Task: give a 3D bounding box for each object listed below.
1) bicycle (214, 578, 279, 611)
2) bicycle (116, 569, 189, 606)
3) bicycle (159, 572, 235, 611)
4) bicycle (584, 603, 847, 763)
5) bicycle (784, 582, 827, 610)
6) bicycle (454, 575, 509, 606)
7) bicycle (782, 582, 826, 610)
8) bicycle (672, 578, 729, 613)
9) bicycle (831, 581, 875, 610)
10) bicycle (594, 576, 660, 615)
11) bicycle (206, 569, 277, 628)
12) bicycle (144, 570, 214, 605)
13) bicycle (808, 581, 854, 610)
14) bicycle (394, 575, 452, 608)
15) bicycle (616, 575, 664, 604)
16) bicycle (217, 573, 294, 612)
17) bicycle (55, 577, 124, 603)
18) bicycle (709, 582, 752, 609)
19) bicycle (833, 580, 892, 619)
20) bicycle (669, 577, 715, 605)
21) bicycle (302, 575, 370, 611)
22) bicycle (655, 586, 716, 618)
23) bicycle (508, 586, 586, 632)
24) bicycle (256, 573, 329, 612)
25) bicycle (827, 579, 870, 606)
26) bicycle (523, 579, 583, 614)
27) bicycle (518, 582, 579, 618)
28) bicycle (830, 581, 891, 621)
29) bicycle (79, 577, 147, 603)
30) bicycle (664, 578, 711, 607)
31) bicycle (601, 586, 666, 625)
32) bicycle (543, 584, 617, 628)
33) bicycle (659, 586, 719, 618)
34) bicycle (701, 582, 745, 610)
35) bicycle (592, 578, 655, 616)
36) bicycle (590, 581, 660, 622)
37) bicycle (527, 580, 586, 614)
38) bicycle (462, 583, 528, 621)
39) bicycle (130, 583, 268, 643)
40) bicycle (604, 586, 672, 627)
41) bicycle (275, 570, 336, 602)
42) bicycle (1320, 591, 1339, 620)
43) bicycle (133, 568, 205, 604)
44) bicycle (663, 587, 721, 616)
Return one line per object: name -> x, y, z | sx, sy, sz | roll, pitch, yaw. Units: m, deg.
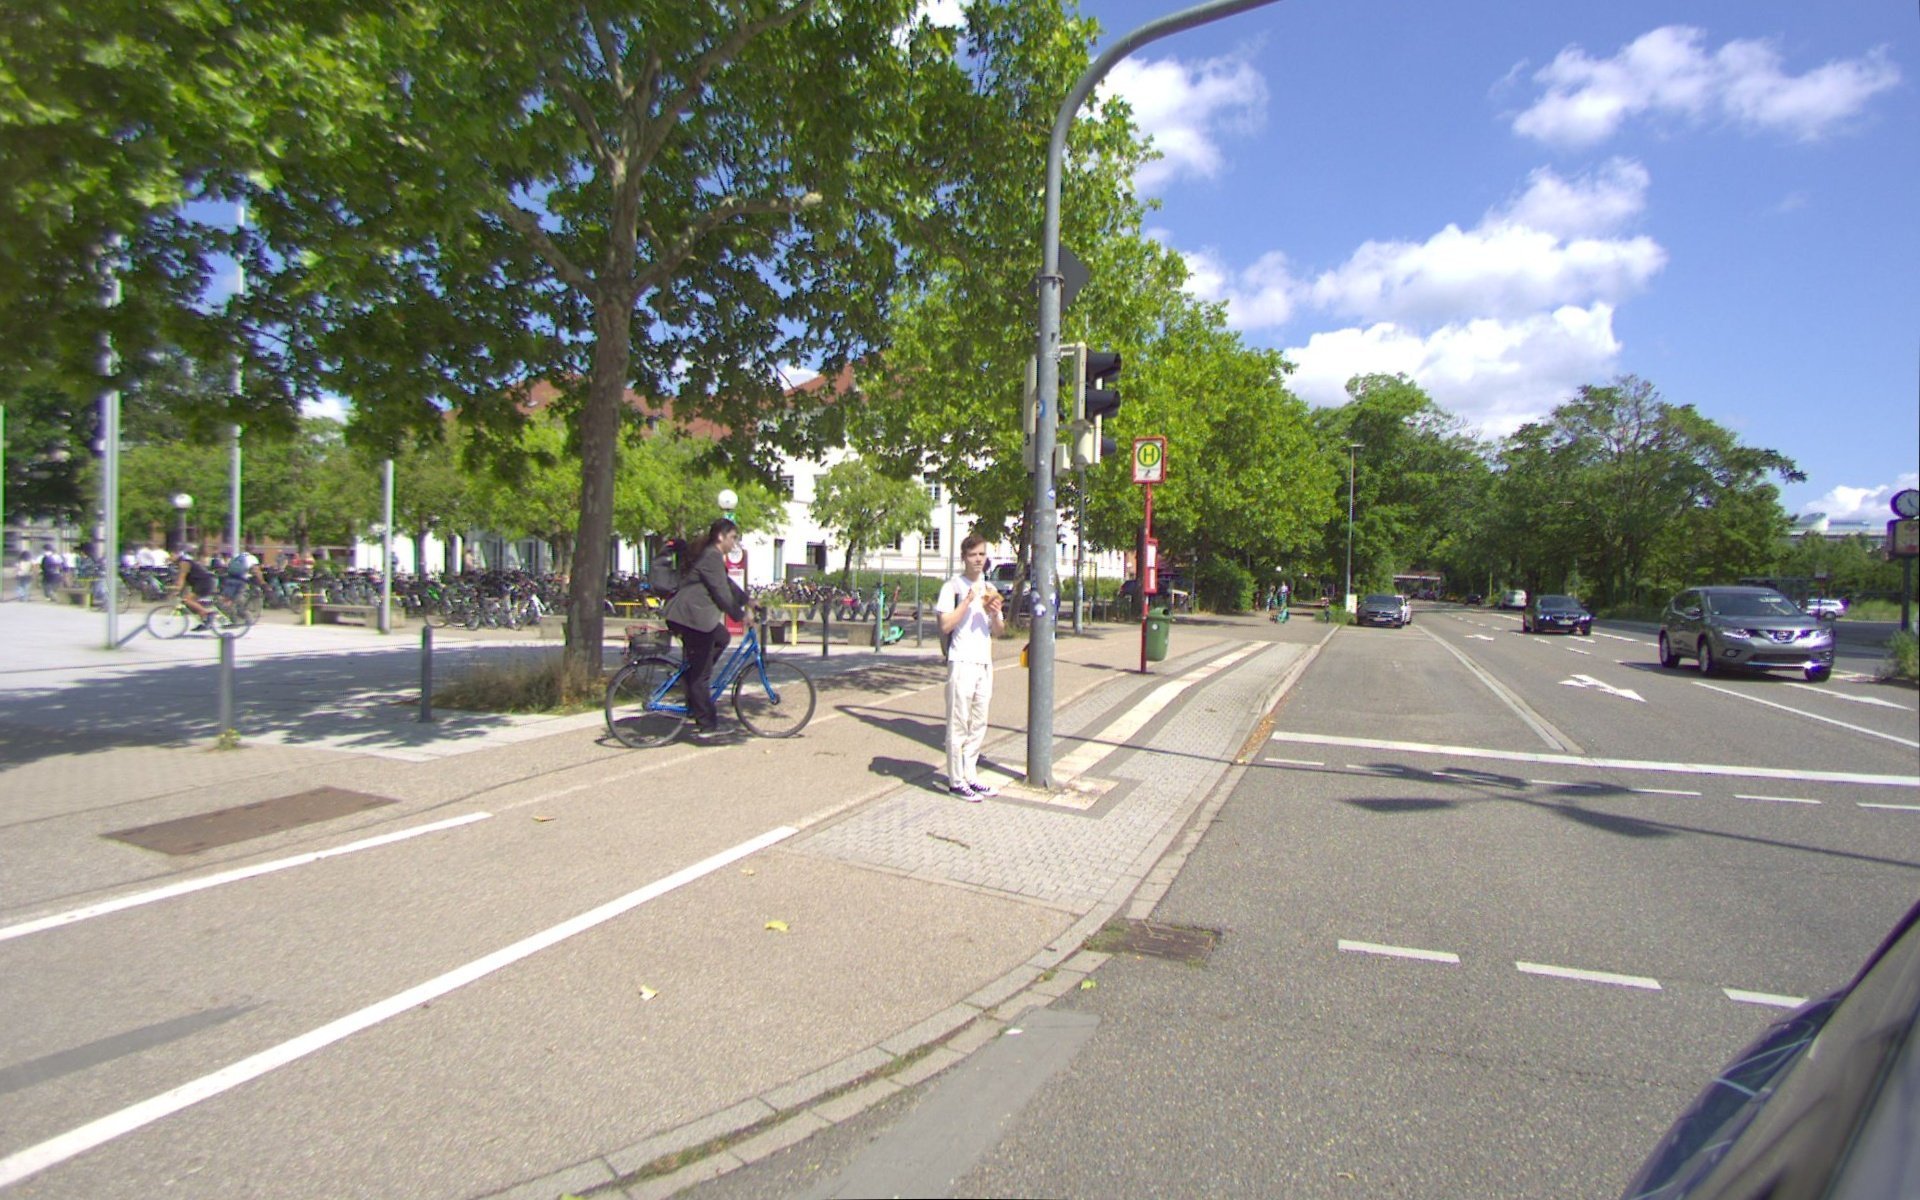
bicycle -> -24.666, -0.205, 35.007 | 1.731, 1.113, 0.605 | -1, 0, -8
bicycle -> -25.362, -0.395, 31.809 | 1.731, 1.113, 0.605 | -1, 0, -8
bicycle -> -22.683, -0.256, 30.111 | 1.731, 1.113, 0.605 | -1, 0, -8
bicycle -> -1.935, 0.605, 8.147 | 1.857, 1.085, 0.818 | 1, 4, -39
bicycle -> -6.305, -0.173, 41.283 | 1.731, 1.113, 0.593 | -1, 0, -8
bicycle -> -17.567, -0.362, 37.177 | 1.731, 1.113, 0.605 | -1, 0, -8
bicycle -> -6.259, -0.167, 40.664 | 1.731, 1.113, 0.517 | -1, 0, -8
bicycle -> -8.504, -0.146, 33.181 | 1.731, 1.113, 0.605 | -1, 0, -8
bicycle -> -4.314, -0.188, 40.783 | 1.731, 1.113, 0.605 | -1, 0, -8
bicycle -> -9.637, -0.135, 29.301 | 1.731, 1.112, 0.605 | 1, 1, -8
bicycle -> -16.814, -0.049, 23.721 | 0.649, 1.313, 1.878 | -1, 0, -12
bicycle -> -25.632, -0.407, 33.243 | 1.731, 1.113, 0.605 | -1, 0, -8
bicycle -> -5.041, -0.174, 39.571 | 1.731, 1.113, 0.605 | -1, 0, -8
bicycle -> -19.172, -0.306, 36.165 | 1.731, 1.113, 0.605 | -1, 0, -8
bicycle -> -12.636, -0.414, 40.030 | 1.731, 1.113, 0.605 | -1, 0, -8
bicycle -> -20.336, -0.219, 29.241 | 1.731, 1.113, 0.605 | -1, 0, -8
bicycle -> -28.024, -0.345, 32.622 | 0.512, 0.802, 1.763 | 1, 1, 10
bicycle -> -9.791, -0.187, 43.187 | 1.731, 1.113, 0.605 | -1, 0, -8
bicycle -> -2.916, -0.020, 30.217 | 1.731, 1.113, 0.605 | -1, 0, -8
bicycle -> -10.896, -0.363, 41.191 | 1.731, 1.113, 0.605 | -1, 0, -8
bicycle -> -19.946, -0.234, 32.374 | 1.731, 1.113, 0.605 | -1, 0, -8
bicycle -> -8.372, 0.058, 30.927 | 1.731, 0.966, 0.605 | 1, 0, -8
bicycle -> -10.522, 0.221, 25.836 | 1.731, 1.113, 0.605 | -1, 0, -8
bicycle -> -19.939, -0.227, 30.250 | 1.731, 1.113, 0.605 | -1, 0, -8
bicycle -> -4.623, -0.313, 42.054 | 1.731, 1.113, 0.605 | -1, 0, -8
bicycle -> -13.430, -0.133, 33.403 | 1.731, 1.113, 0.605 | -1, 0, -8
bicycle -> -13.295, -0.013, 32.707 | 1.731, 1.113, 0.605 | -1, 0, -8
bicycle -> -2.914, 0.026, 29.512 | 1.731, 1.113, 0.605 | -1, 0, -8
bicycle -> -26.964, -0.320, 32.263 | 0.512, 0.802, 1.763 | 1, 1, 10
bicycle -> -10.811, -0.292, 40.238 | 1.731, 1.113, 0.605 | -1, 0, -8
bicycle -> -9.672, 0.175, 30.047 | 1.731, 1.113, 0.605 | 1, 0, -8
bicycle -> -9.967, 0.161, 26.595 | 1.731, 1.113, 0.605 | -1, 0, -8
bicycle -> -8.484, 0.051, 31.727 | 1.731, 0.966, 0.605 | 1, 0, -8
bicycle -> -9.927, -0.177, 42.481 | 1.731, 1.113, 0.605 | -1, 0, -8
bicycle -> -10.319, -0.097, 31.058 | 1.731, 1.113, 0.605 | 1, 0, -8
bicycle -> -9.212, 0.035, 27.869 | 1.731, 1.113, 0.605 | -1, 0, -8
bicycle -> -13.569, -0.100, 34.045 | 1.731, 1.113, 0.605 | -1, 0, -8
bicycle -> -14.302, 0.049, 31.164 | 1.731, 1.113, 0.605 | -1, 0, -8
bicycle -> -15.166, 0.228, 20.254 | 2.112, 1.092, 0.904 | -2, 2, -32
bicycle -> -9.123, 0.181, 28.714 | 1.731, 1.113, 0.605 | 1, 0, -8
bicycle -> -23.433, -0.500, 36.266 | 1.731, 1.113, 0.605 | -1, 0, -8
bicycle -> 15.875, 0.236, 43.461 | 0.632, 1.205, 2.103 | 3, 1, 22
bicycle -> -25.407, -0.445, 32.533 | 1.731, 1.113, 0.605 | -1, 0, -8
bicycle -> -8.596, 0.050, 32.528 | 1.731, 0.880, 0.485 | 1, 0, -8
